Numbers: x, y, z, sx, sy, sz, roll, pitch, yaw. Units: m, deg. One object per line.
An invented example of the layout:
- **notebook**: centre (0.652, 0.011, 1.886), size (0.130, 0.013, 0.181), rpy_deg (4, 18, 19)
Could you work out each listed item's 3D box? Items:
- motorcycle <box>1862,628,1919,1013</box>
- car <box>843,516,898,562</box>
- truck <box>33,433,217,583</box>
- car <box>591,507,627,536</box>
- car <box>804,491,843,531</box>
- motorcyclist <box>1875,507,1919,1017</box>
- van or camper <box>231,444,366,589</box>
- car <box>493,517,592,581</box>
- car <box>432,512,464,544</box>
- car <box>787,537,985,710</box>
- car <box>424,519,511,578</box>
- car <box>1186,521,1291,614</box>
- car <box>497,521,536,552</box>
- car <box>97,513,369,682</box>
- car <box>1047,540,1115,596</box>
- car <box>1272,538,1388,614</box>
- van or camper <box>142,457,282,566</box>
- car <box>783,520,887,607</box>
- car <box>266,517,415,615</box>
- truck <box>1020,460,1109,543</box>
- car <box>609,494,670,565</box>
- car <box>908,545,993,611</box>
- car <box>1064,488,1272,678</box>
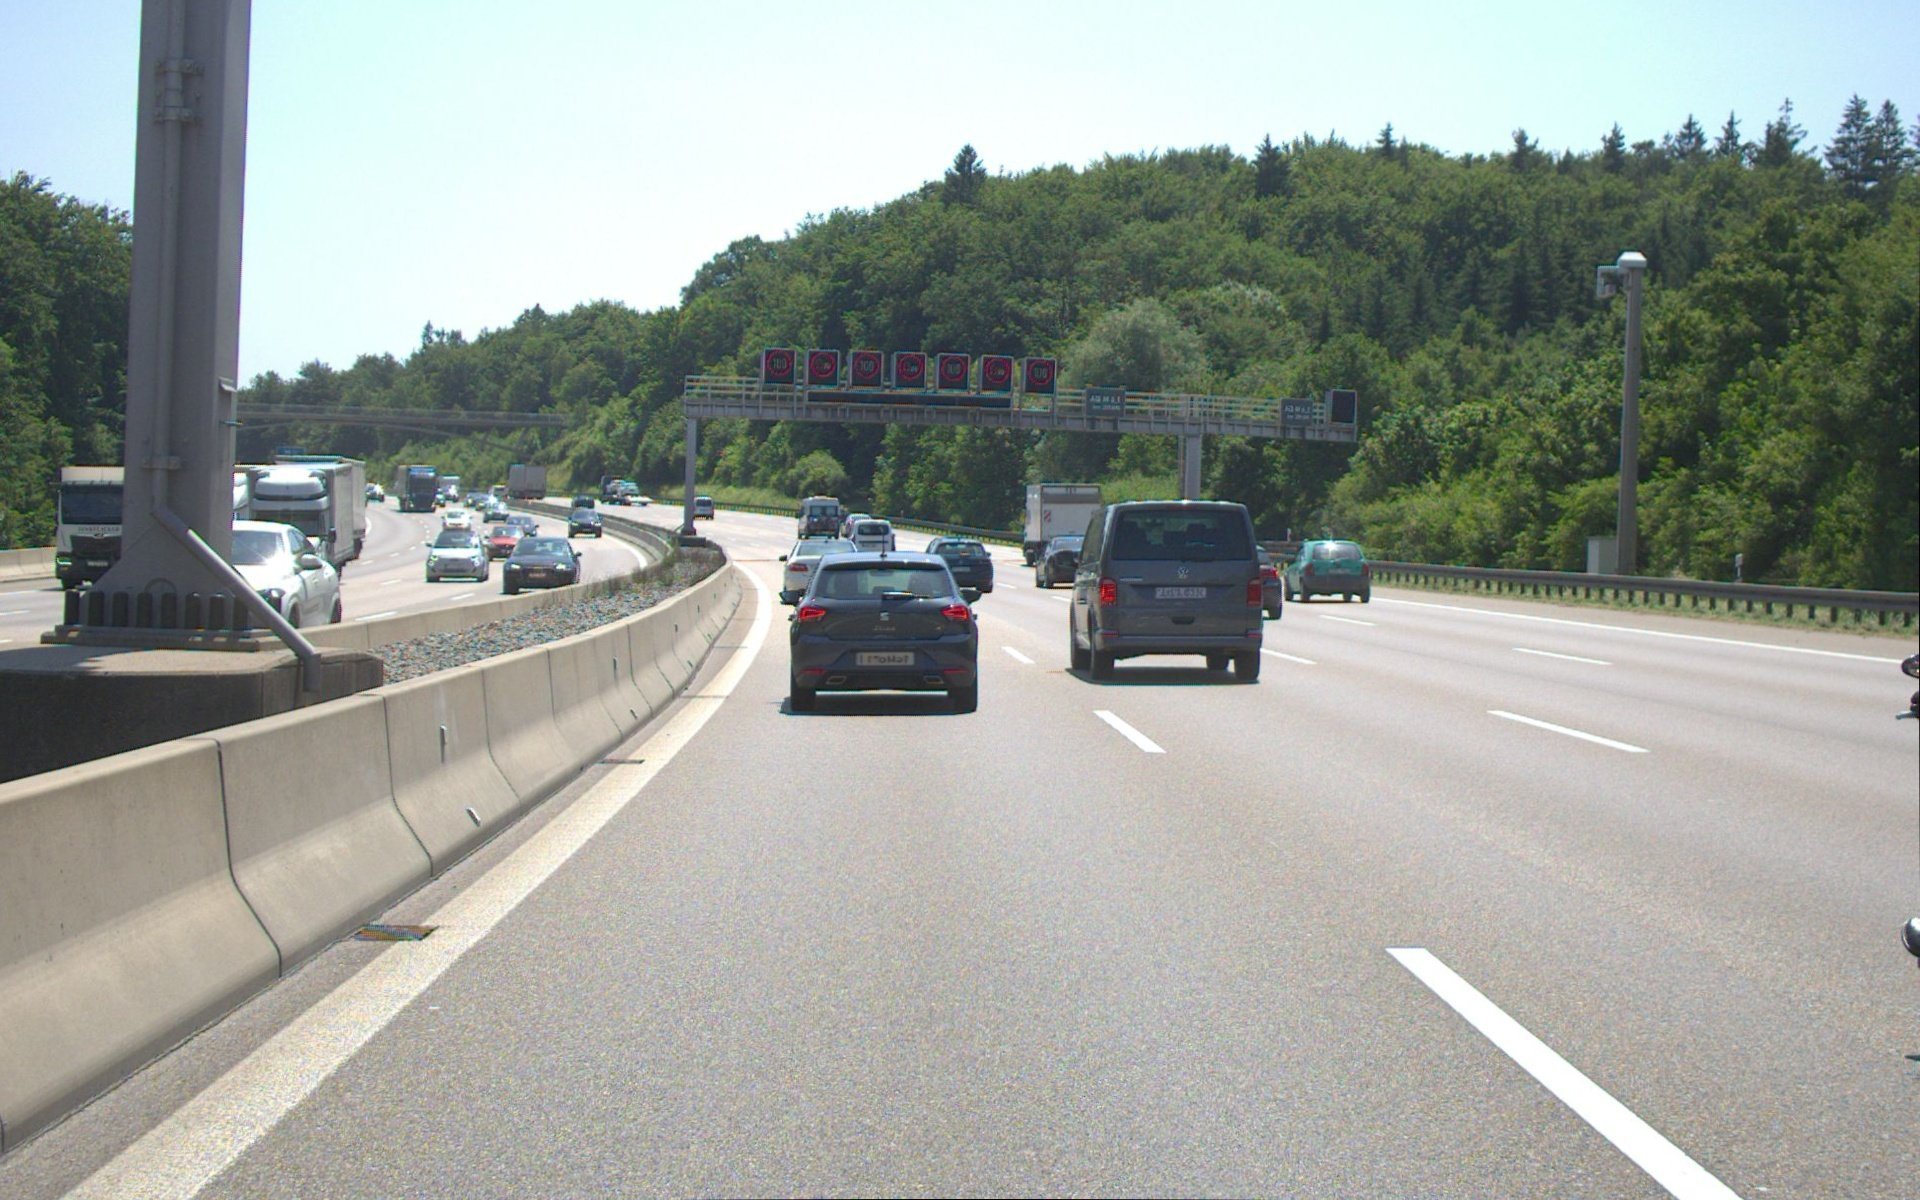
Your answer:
- **motorcycle**: centre (3.141, 0.689, 9.888), size (0.535, 1.131, 2.437), rpy_deg (0, 1, 2)
- **car**: centre (-3.603, -2.448, 137.099), size (2.103, 1.738, 4.688), rpy_deg (0, 2, -2)
- **truck**: centre (-22.201, -2.356, 91.894), size (2.869, 3.684, 9.241), rpy_deg (1, 0, -2)
- **car**: centre (-20.781, -4.665, 203.642), size (1.993, 1.662, 4.435), rpy_deg (0, 1, -4)
- **car**: centre (-8.164, -5.363, 206.374), size (2.265, 2.363, 4.702), rpy_deg (0, 1, -1)
- **motorcyclist**: centre (3.107, 0.452, 9.605), size (0.853, 1.422, 1.023), rpy_deg (0, 1, 2)
- **van or camper**: centre (-18.521, -2.267, 96.665), size (2.829, 3.826, 8.216), rpy_deg (1, 0, -5)
- **car**: centre (-10.619, -1.316, 87.743), size (1.993, 1.584, 4.844), rpy_deg (0, 1, -1)
- **car**: centre (-32.430, -4.573, 217.763), size (1.993, 2.007, 4.001), rpy_deg (0, 1, -8)
- **car**: centre (-0.679, 0.169, 32.149), size (1.708, 1.428, 4.001), rpy_deg (1, 2, -1)
- **car**: centre (-14.853, -1.573, 103.811), size (2.287, 1.722, 5.032), rpy_deg (0, 1, -5)
- **car**: centre (5.325, -0.639, 66.081), size (1.849, 1.722, 4.000), rpy_deg (0, 1, 2)
- **car**: centre (-23.203, -3.337, 180.112), size (1.761, 1.515, 4.363), rpy_deg (1, 0, -4)
- **car**: centre (-8.075, -0.068, 38.689), size (1.988, 1.731, 5.345), rpy_deg (1, 1, -1)
- **car**: centre (3.408, -0.929, 97.455), size (1.665, 1.403, 4.904), rpy_deg (1, 2, -1)
- **car**: centre (8.593, -0.572, 80.064), size (1.993, 1.722, 4.001), rpy_deg (0, 1, -4)
- **van or camper**: centre (-23.030, -2.673, 106.240), size (2.764, 3.114, 8.095), rpy_deg (1, 0, -2)
- **car**: centre (-2.789, -0.790, 77.435), size (2.012, 1.839, 3.999), rpy_deg (0, -1, 2)
- **car**: centre (-11.204, -0.632, 62.456), size (1.993, 1.722, 4.000), rpy_deg (0, 1, 0)
- **truck**: centre (4.105, -3.934, 136.233), size (2.985, 3.155, 7.576), rpy_deg (0, 2, -2)
- **car**: centre (-12.197, -2.668, 131.099), size (1.993, 2.566, 4.169), rpy_deg (1, 0, -2)
- **car**: centre (-0.281, -0.593, 91.320), size (1.993, 1.722, 4.150), rpy_deg (0, 1, -4)
- **car**: centre (2.302, -0.221, 39.321), size (1.963, 2.026, 5.084), rpy_deg (0, 1, -1)
